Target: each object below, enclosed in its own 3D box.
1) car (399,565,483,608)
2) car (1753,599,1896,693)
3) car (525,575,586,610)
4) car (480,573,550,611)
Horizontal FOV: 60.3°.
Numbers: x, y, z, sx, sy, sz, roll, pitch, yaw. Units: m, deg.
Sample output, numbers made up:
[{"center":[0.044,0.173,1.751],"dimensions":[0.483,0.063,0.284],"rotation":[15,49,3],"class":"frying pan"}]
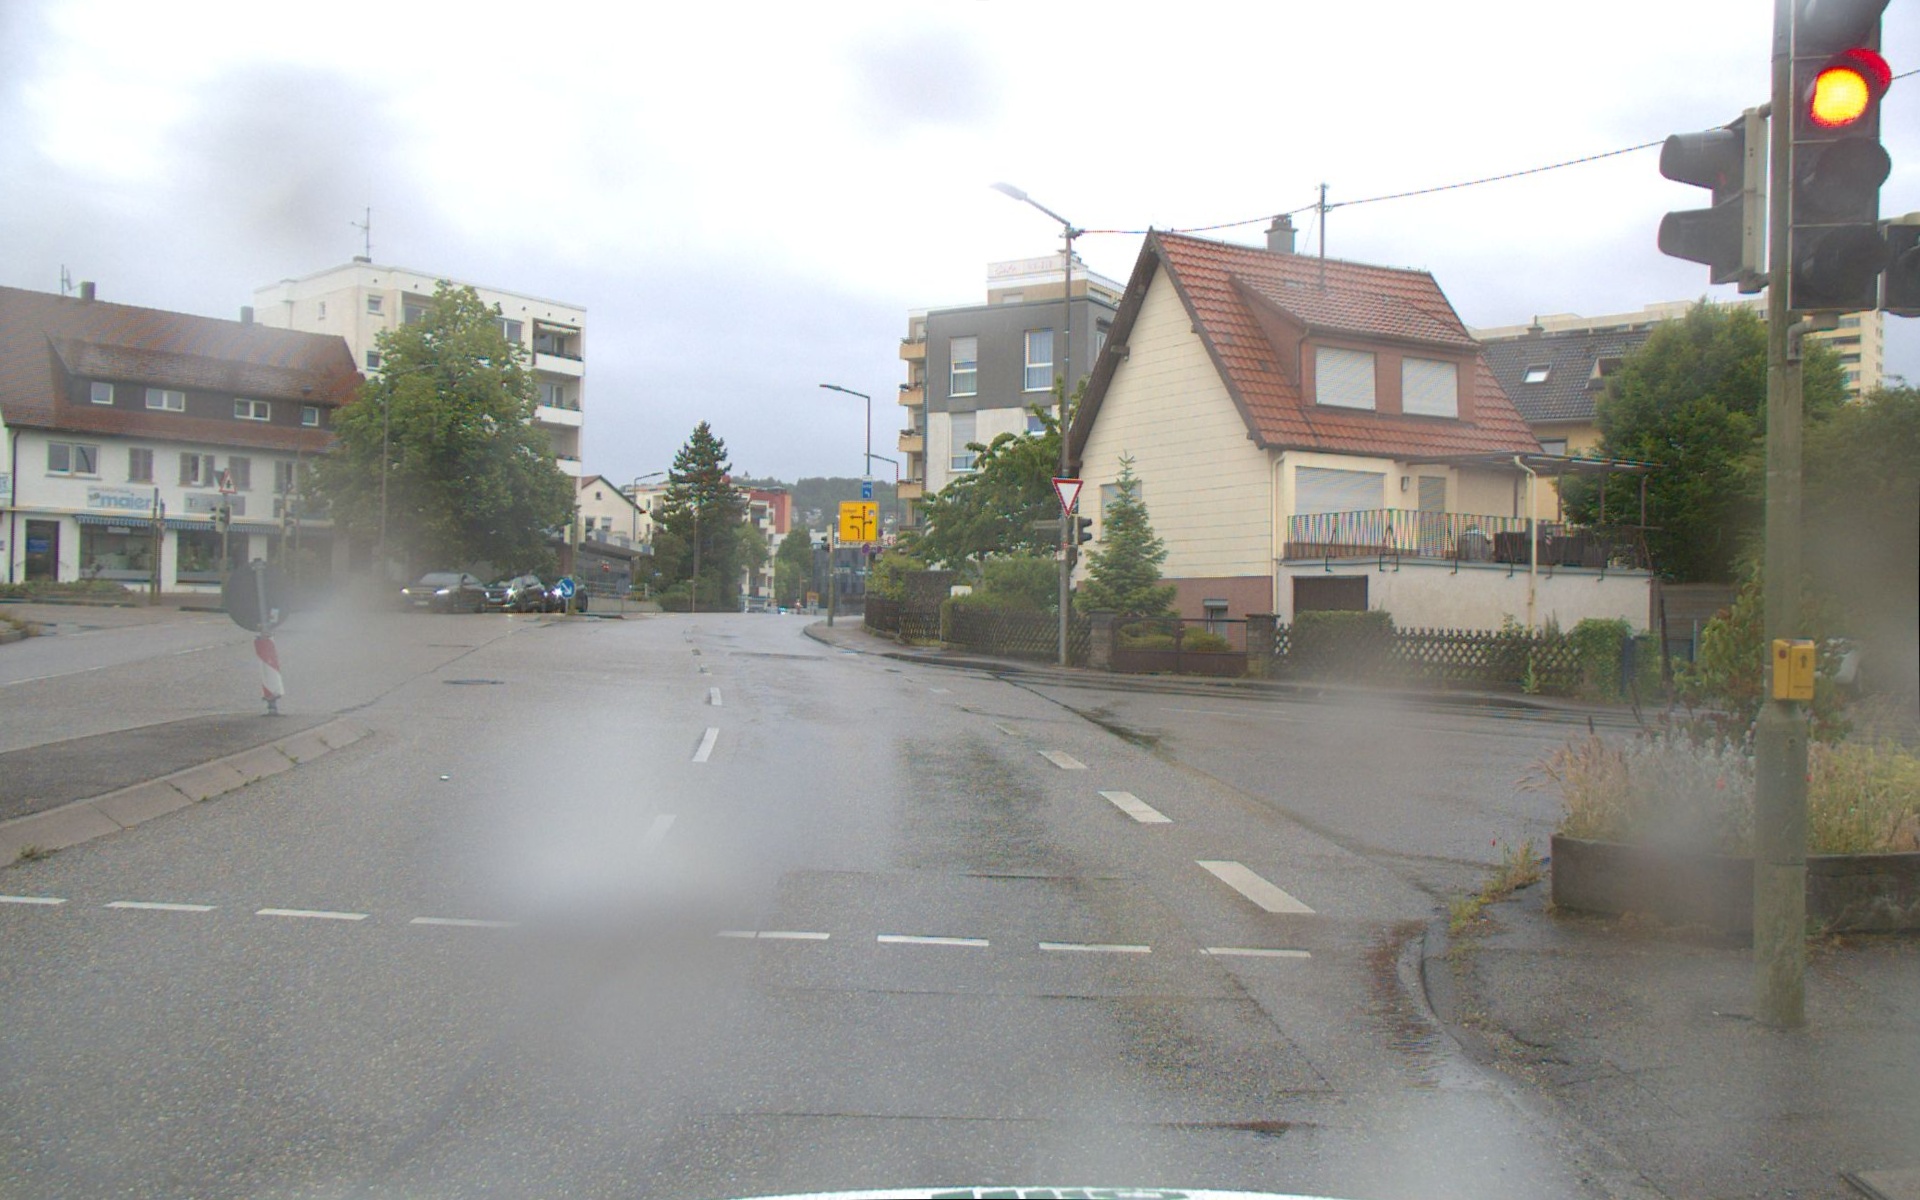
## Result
[{"center":[-18.121,-0.473,57.919],"dimensions":[1.742,1.445,3.830],"rotation":[1,1,-1],"class":"car"},{"center":[15.620,0.783,29.797],"dimensions":[1.710,1.541,3.985],"rotation":[1,1,36],"class":"car"},{"center":[-17.363,-0.341,71.147],"dimensions":[1.742,1.445,3.830],"rotation":[1,1,-1],"class":"car"},{"center":[-17.552,-0.322,65.395],"dimensions":[1.680,1.411,4.020],"rotation":[1,1,-1],"class":"car"}]
